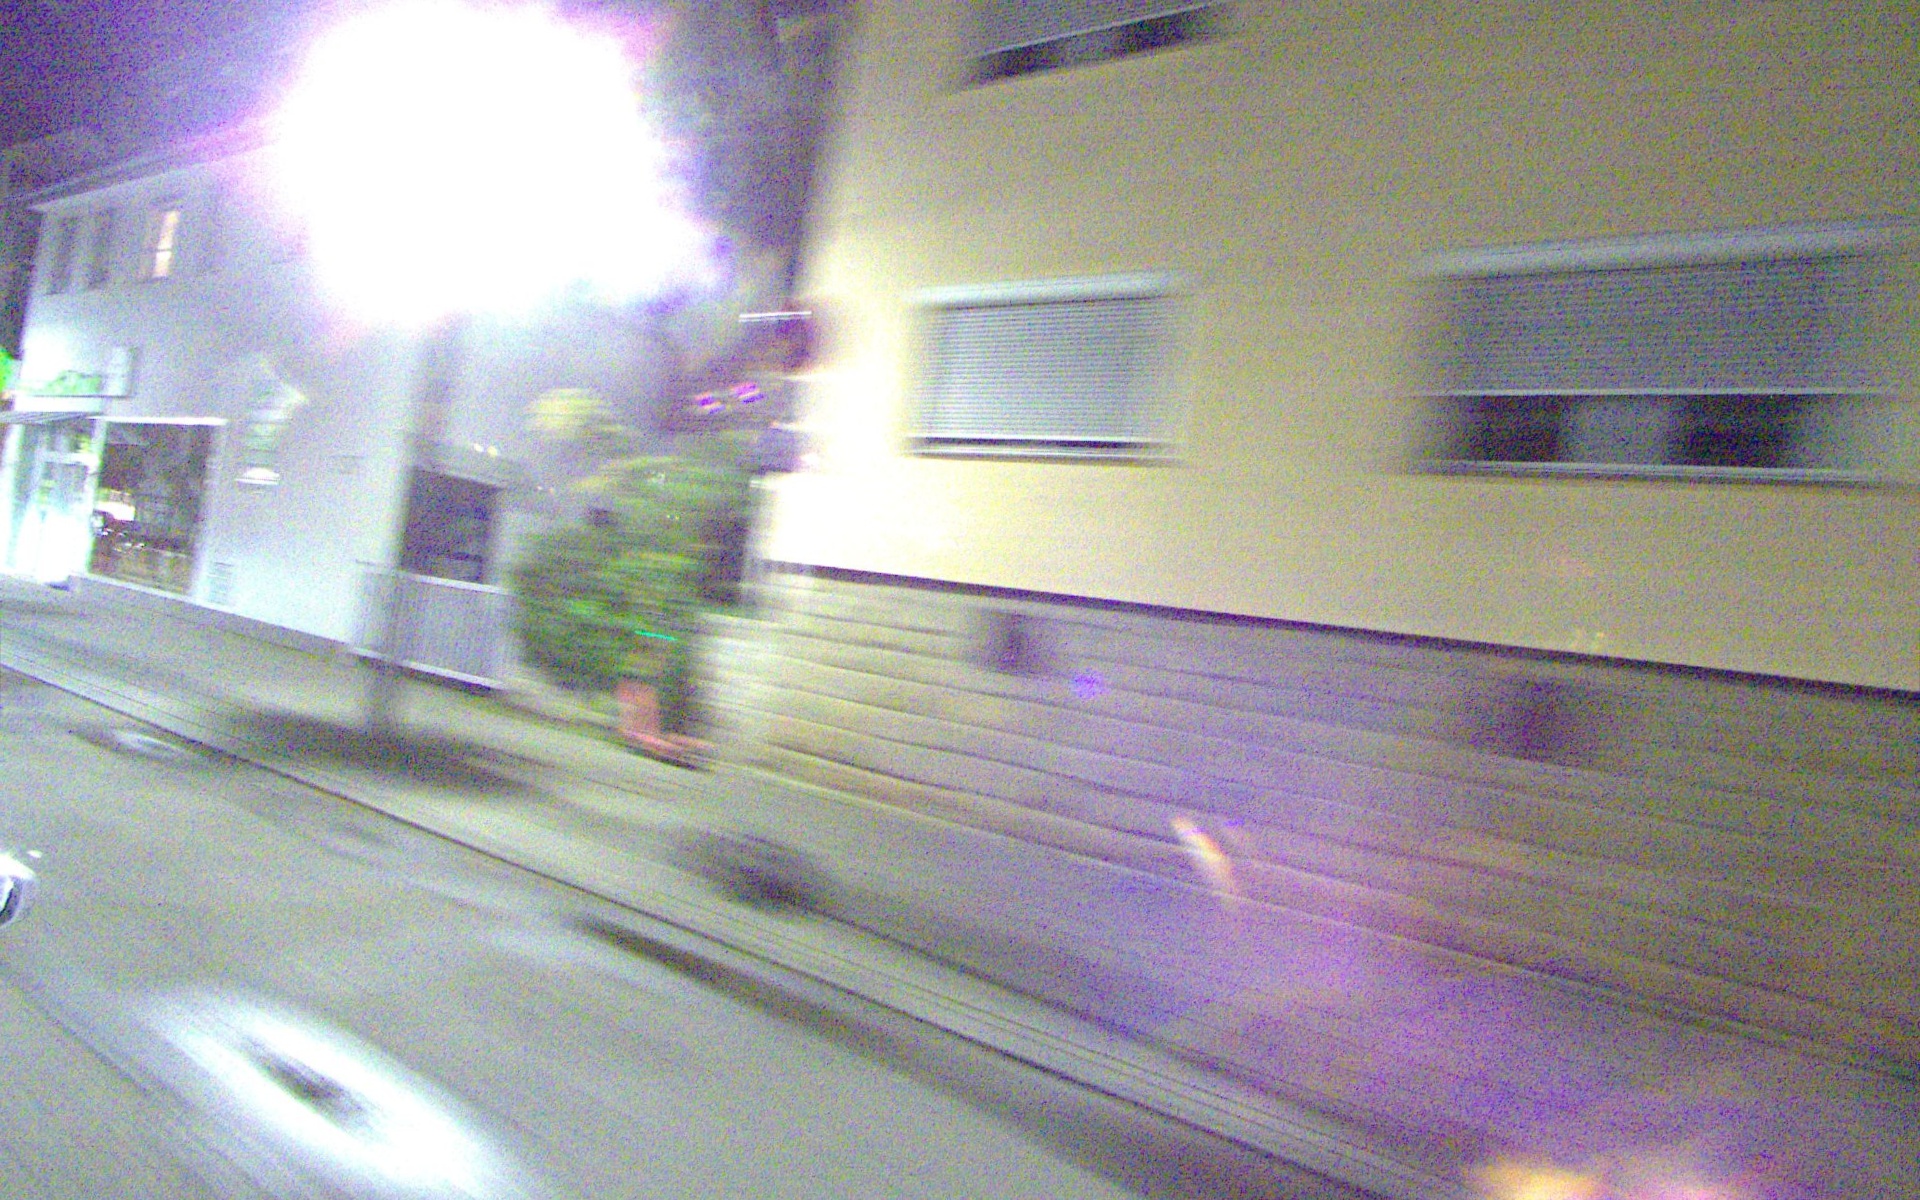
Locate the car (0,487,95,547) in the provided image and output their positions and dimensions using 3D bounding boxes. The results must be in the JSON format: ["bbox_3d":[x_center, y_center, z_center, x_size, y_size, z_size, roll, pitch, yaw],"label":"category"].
[{"bbox_3d":[-27.329,-2.474,29.498,3.989,1.479,1.805,5,2,31],"label":"car"}]

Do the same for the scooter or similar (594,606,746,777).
[{"bbox_3d":[-2.513,0.765,8.671,1.284,1.291,0.373,6,-1,33],"label":"scooter or similar"}]
